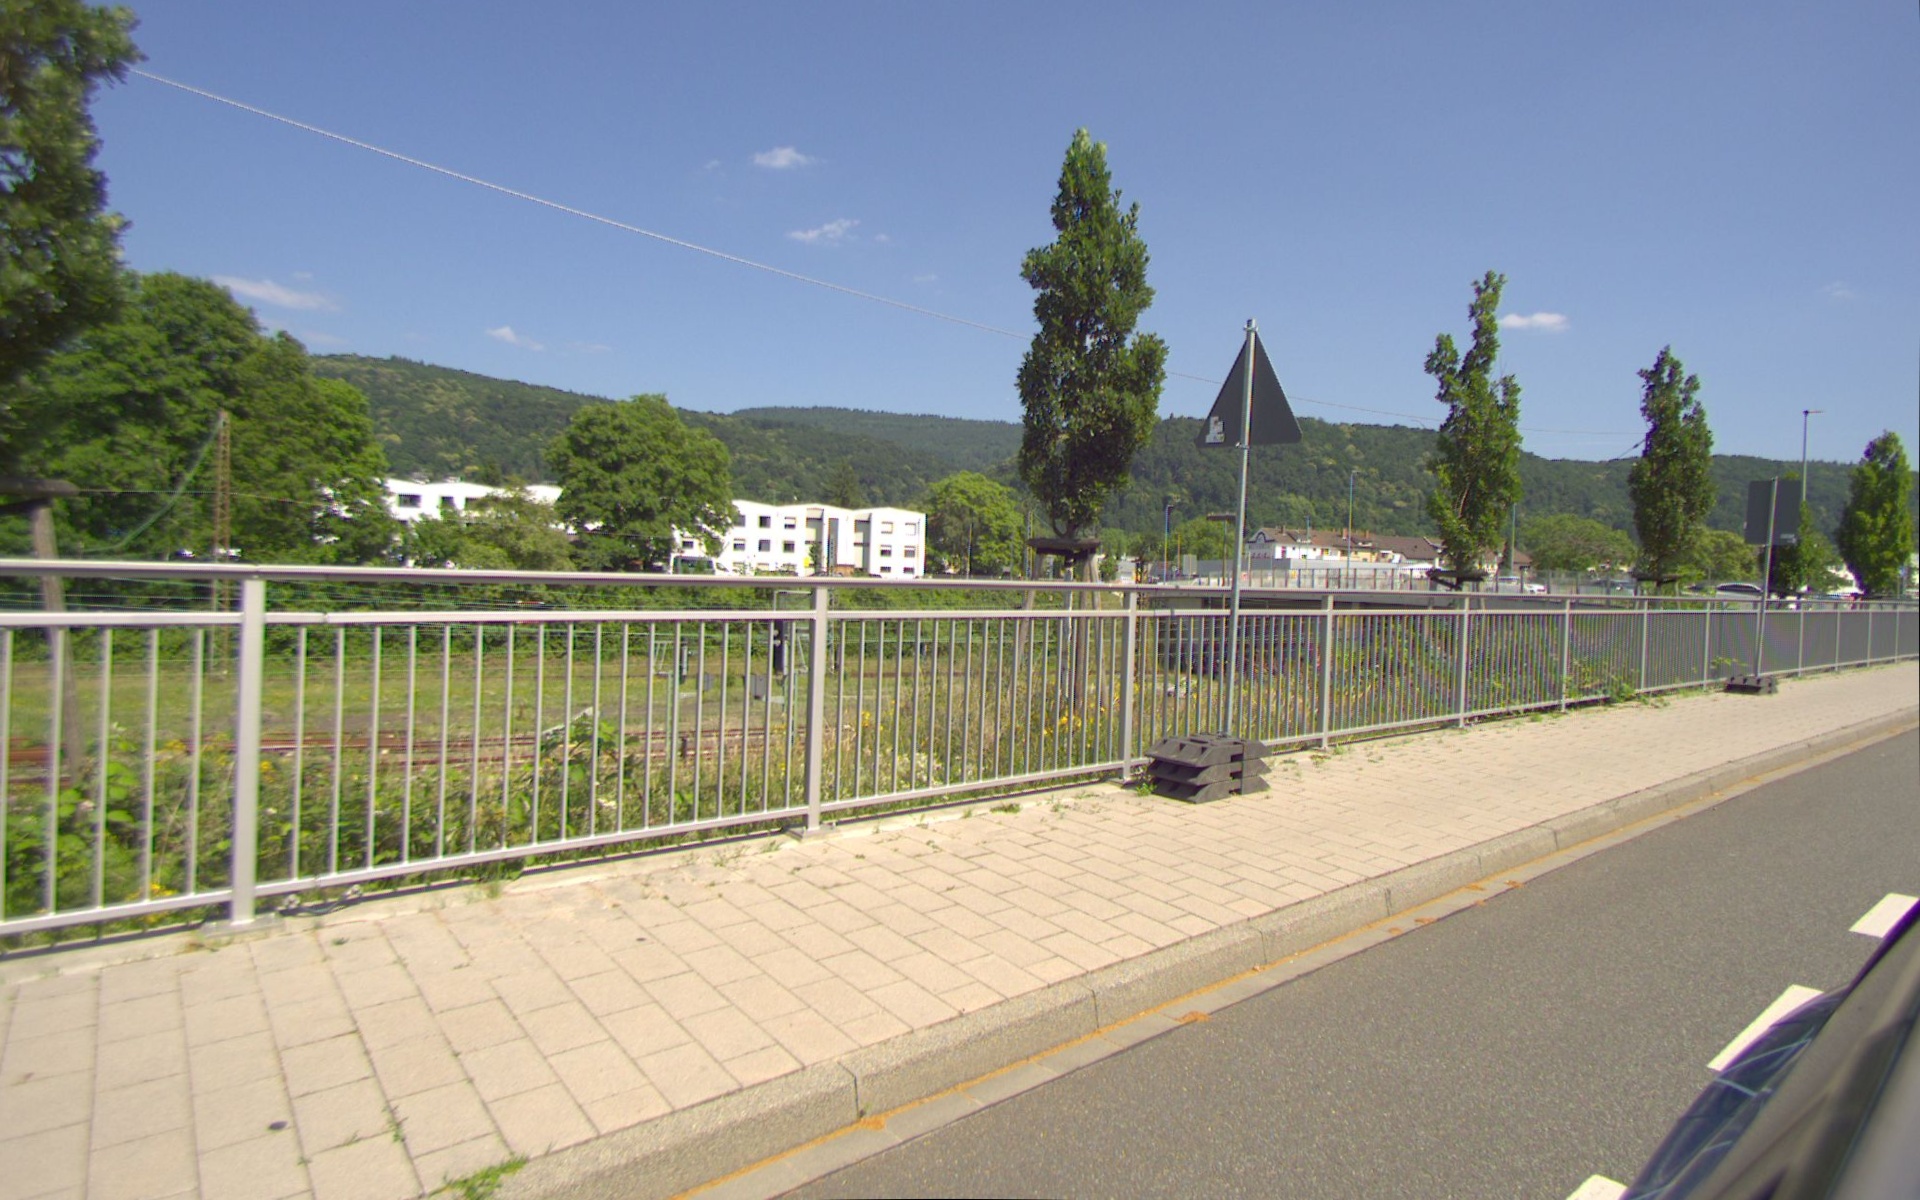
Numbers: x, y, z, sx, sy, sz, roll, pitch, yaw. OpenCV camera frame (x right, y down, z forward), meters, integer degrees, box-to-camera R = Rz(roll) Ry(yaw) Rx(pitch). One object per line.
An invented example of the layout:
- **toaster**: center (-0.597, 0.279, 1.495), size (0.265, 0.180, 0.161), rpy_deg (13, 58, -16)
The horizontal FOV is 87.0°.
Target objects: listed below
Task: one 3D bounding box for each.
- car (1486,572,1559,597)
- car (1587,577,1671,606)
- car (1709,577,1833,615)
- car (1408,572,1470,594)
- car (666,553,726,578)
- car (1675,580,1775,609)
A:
- **car**: center (40.063, -1.101, 72.151), size (1.700, 1.646, 4.453), rpy_deg (1, 2, -21)
- **car**: center (42.330, -0.578, 64.142), size (1.700, 1.646, 4.452), rpy_deg (2, 2, -13)
- **car**: center (41.578, -0.226, 52.021), size (1.958, 1.740, 4.644), rpy_deg (1, 2, -17)
- **car**: center (37.762, -1.356, 79.918), size (1.700, 1.646, 4.453), rpy_deg (1, 1, -19)
- **car**: center (-24.309, -3.198, 93.299), size (4.893, 2.139, 2.002), rpy_deg (1, 2, -32)
- **car**: center (43.564, -0.354, 57.756), size (1.700, 1.487, 4.420), rpy_deg (2, 2, -13)
